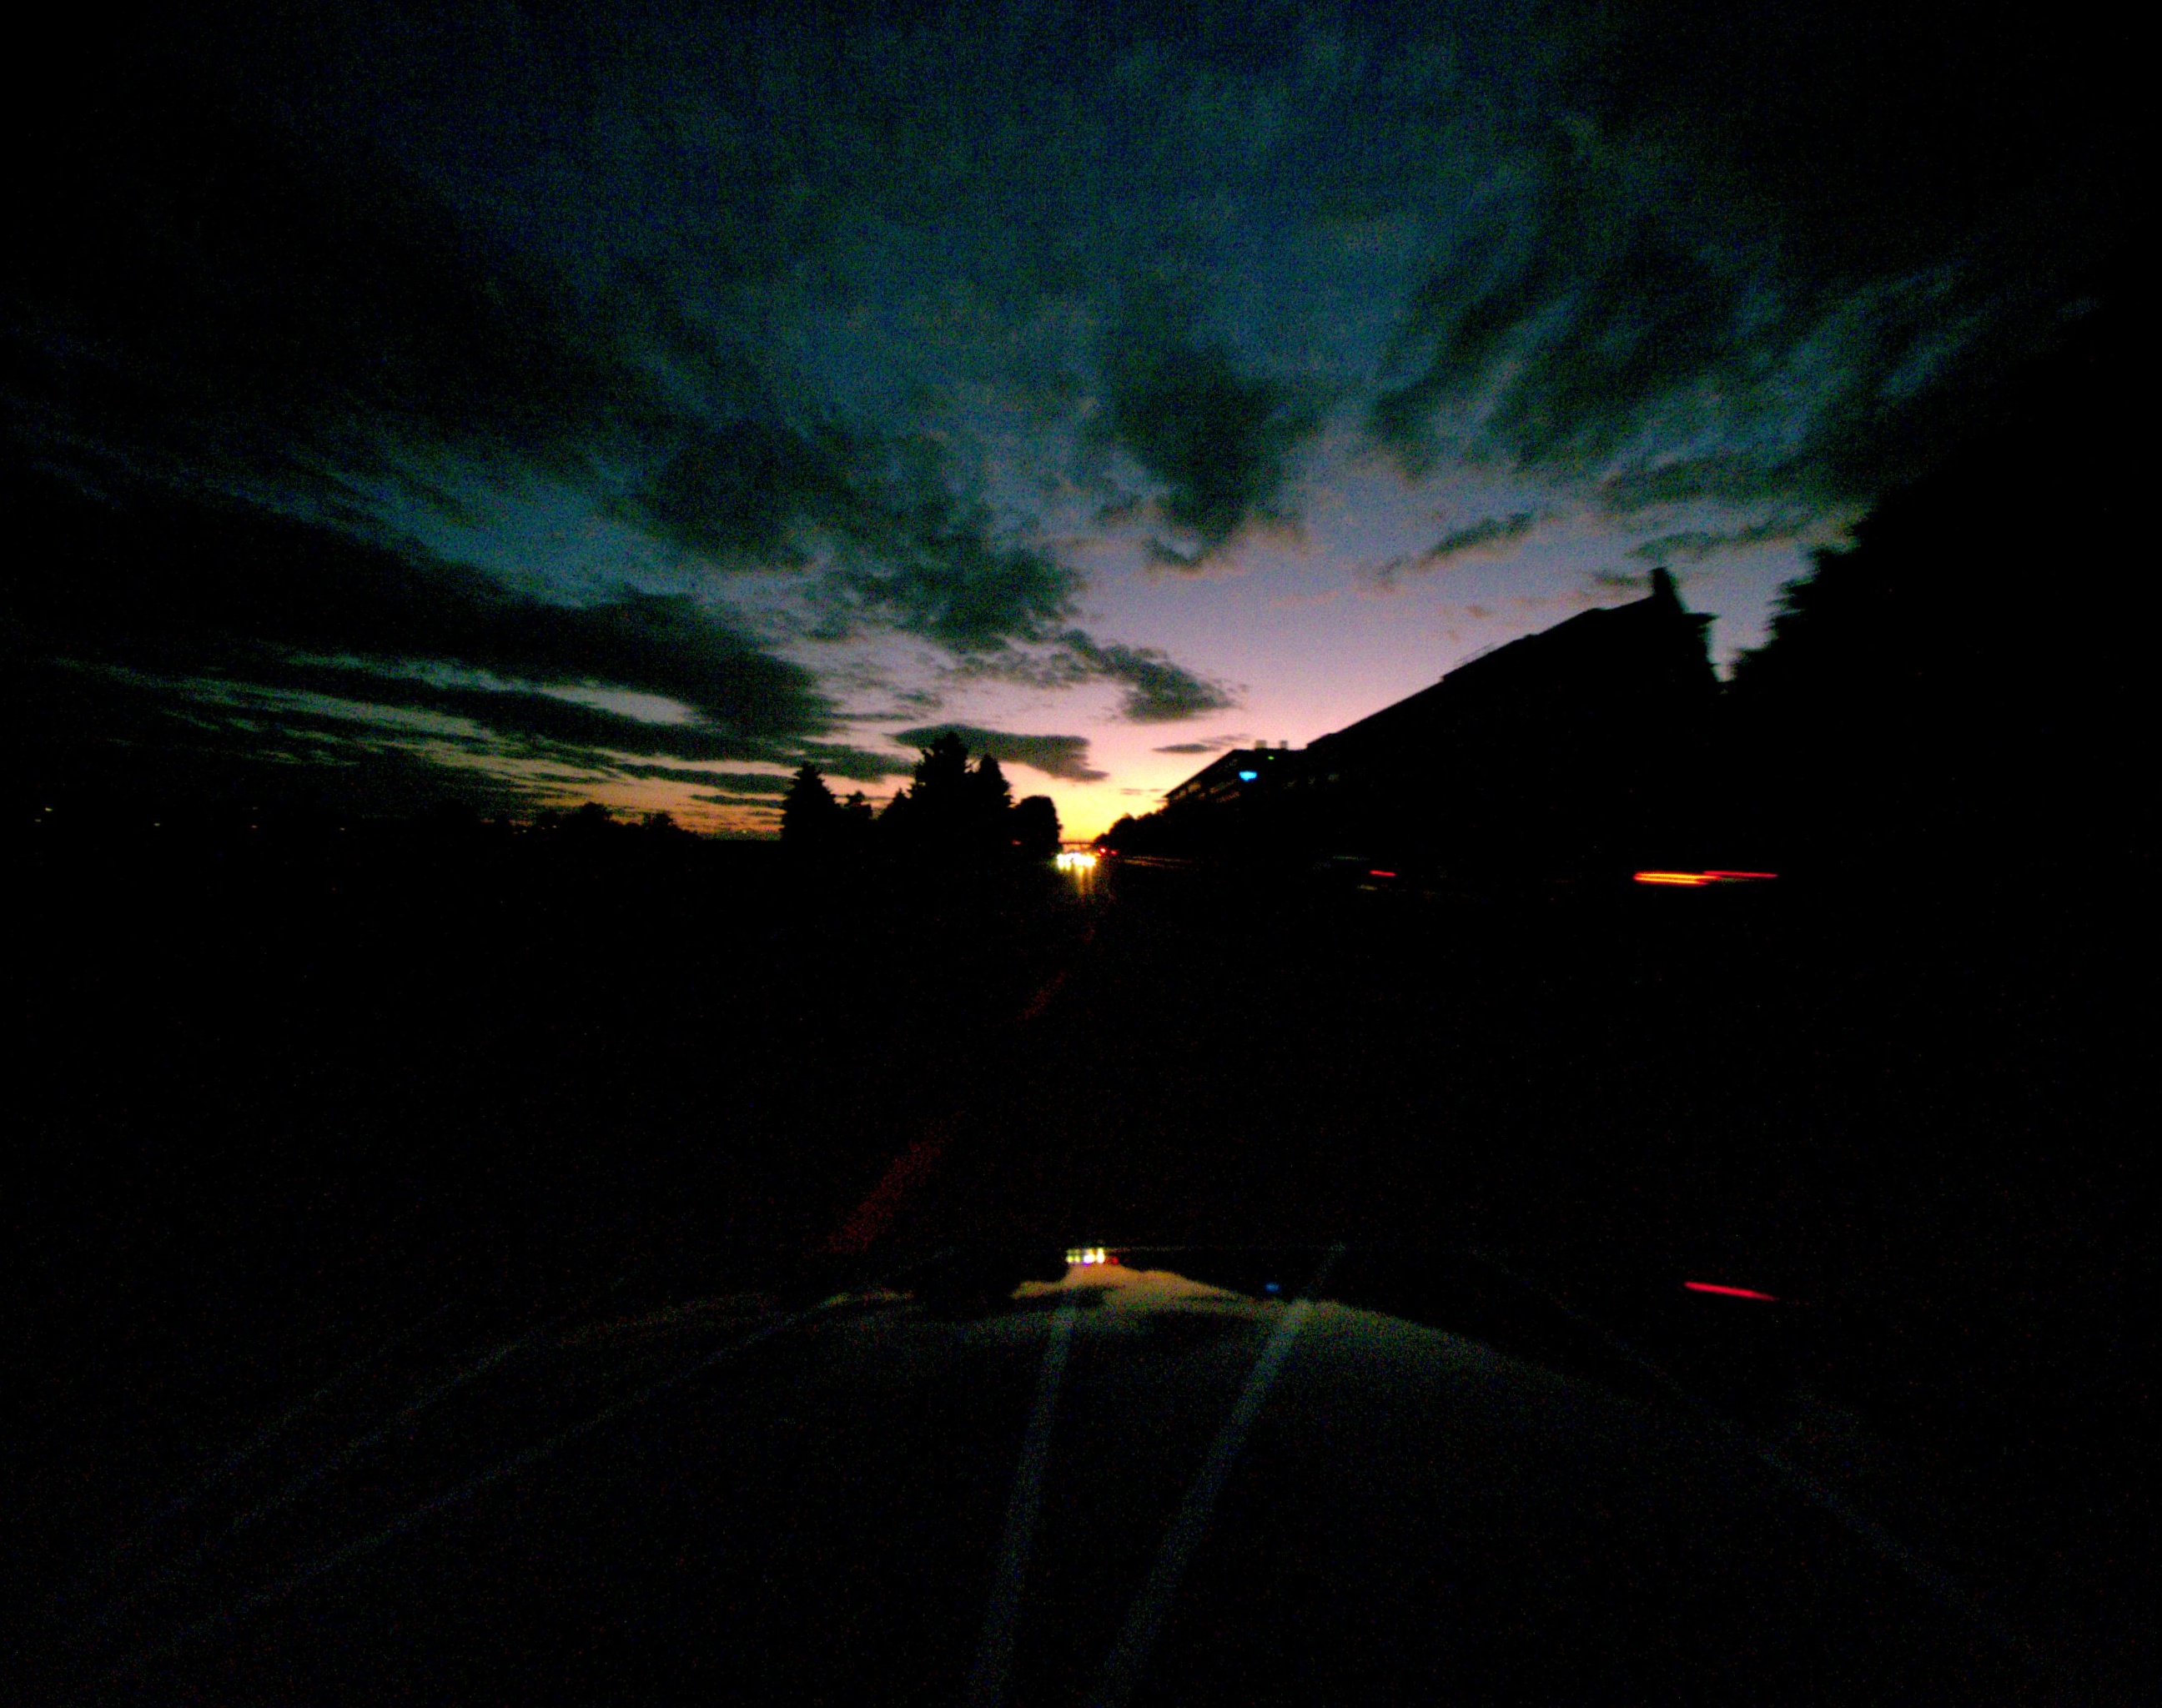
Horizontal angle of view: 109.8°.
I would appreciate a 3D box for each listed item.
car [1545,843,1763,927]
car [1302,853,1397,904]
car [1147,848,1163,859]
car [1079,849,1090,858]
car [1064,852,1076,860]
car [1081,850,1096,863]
[{"bbox_3d":[12.571,0.601,17.088,1.705,1.613,4.307,-1,0,1],"label":"car"},{"bbox_3d":[8.732,0.748,25.073,1.697,1.524,4.000,-1,0,0],"label":"car"},{"bbox_3d":[11.238,-0.144,115.884,1.775,1.631,4.660,0,0,-2],"label":"car"},{"bbox_3d":[0.754,-0.099,170.653,1.861,2.002,4.002,-2,0,6],"label":"car"},{"bbox_3d":[-2.192,0.463,154.745,1.997,1.574,4.002,-2,0,7],"label":"car"},{"bbox_3d":[0.966,0.327,95.892,1.756,1.447,3.803,-3,0,1],"label":"car"}]
